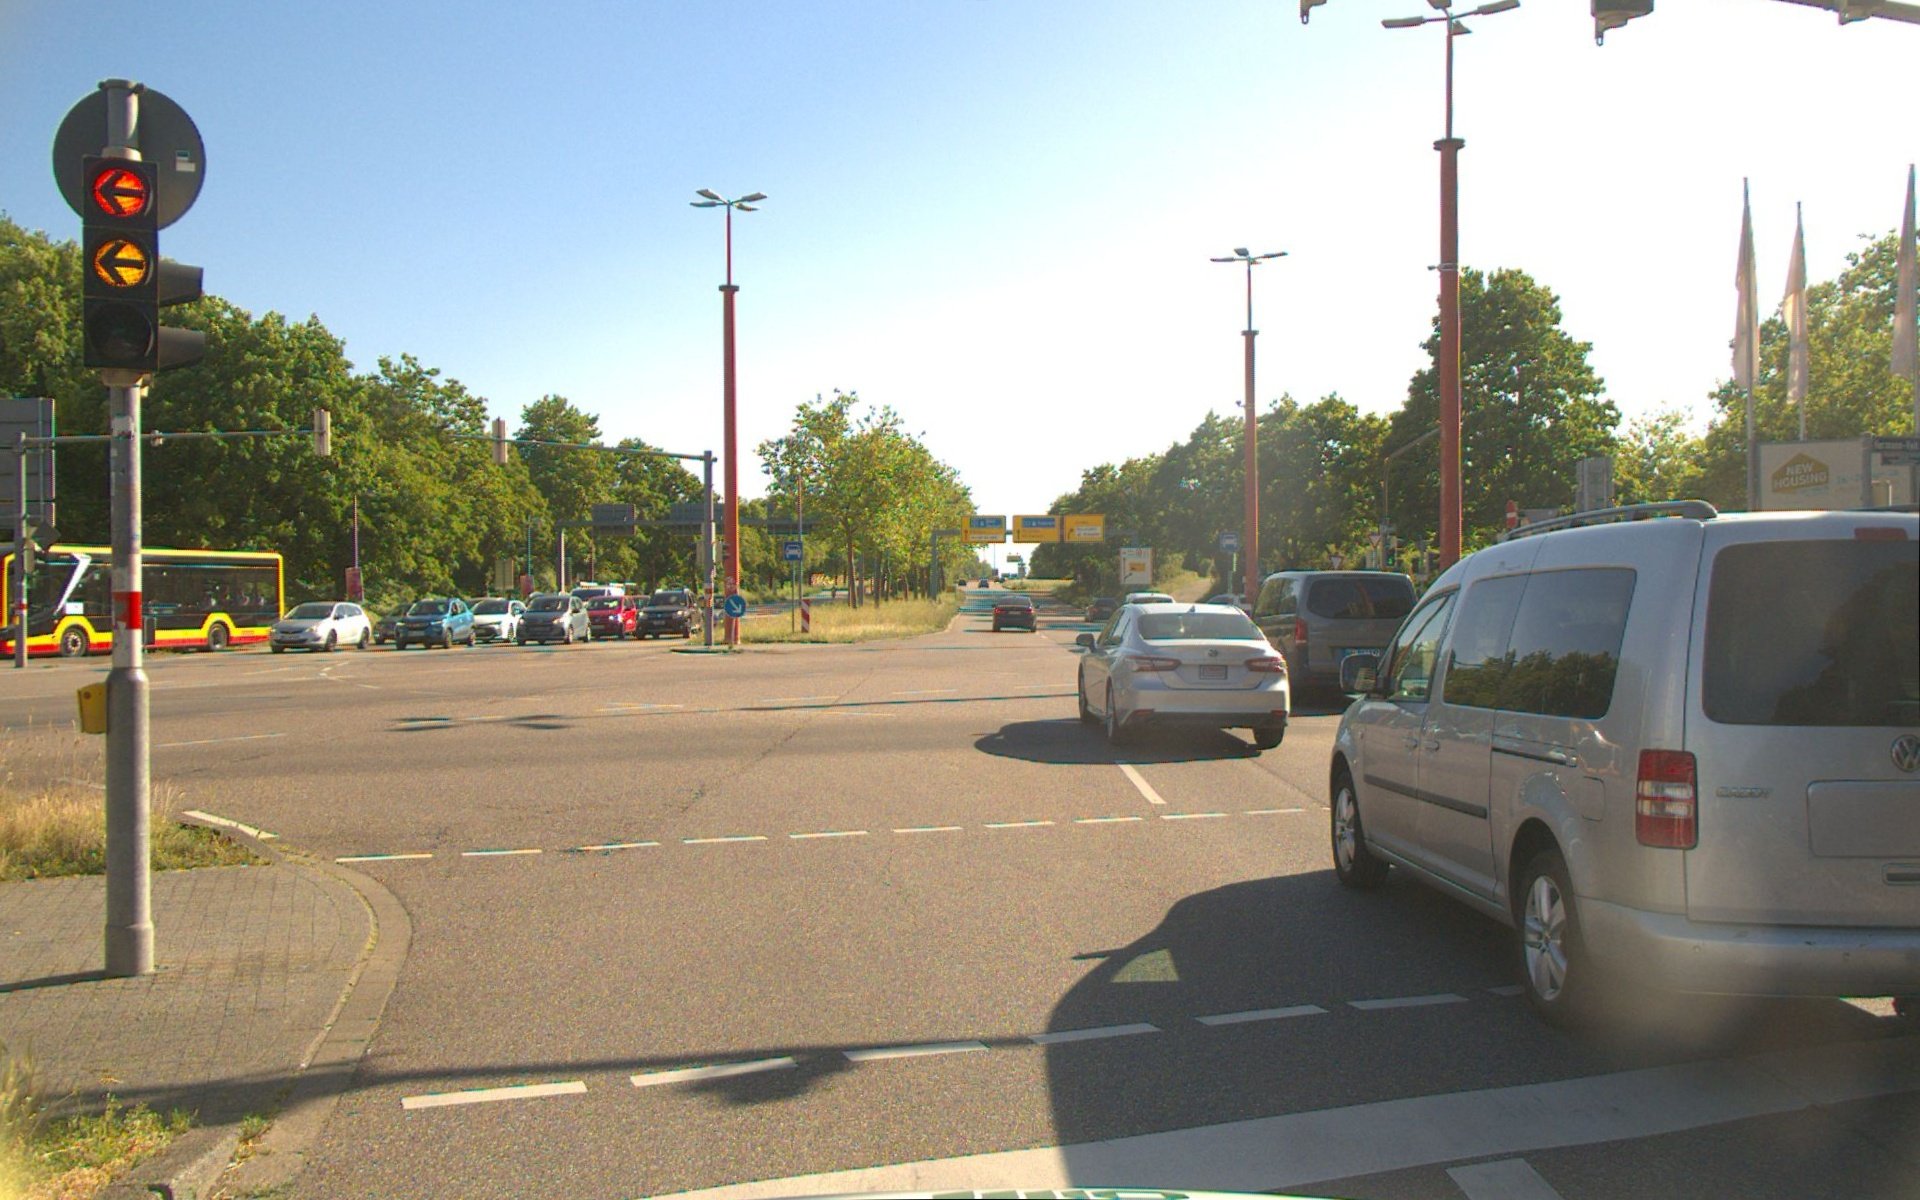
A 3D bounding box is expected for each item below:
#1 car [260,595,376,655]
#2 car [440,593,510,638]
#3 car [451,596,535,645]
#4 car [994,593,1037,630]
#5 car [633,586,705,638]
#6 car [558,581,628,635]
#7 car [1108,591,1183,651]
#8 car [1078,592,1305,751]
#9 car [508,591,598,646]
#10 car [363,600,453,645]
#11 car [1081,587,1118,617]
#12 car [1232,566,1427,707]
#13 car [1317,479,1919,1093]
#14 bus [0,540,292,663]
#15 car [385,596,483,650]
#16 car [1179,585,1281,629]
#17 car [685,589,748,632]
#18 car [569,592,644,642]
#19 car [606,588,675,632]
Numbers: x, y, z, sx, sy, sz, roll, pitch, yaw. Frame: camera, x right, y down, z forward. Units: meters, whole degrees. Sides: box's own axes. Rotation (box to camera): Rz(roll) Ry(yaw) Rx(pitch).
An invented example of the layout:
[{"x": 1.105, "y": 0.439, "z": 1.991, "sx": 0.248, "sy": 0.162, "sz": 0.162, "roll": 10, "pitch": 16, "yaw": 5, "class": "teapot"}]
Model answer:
[{"x": -19.545, "y": 0.742, "z": 50.529, "sx": 1.838, "sy": 1.681, "sz": 4.219, "roll": -1, "pitch": 0, "yaw": 0, "class": "car"}, {"x": -19.455, "y": 0.645, "z": 66.487, "sx": 1.742, "sy": 1.681, "sz": 3.972, "roll": -3, "pitch": -1, "yaw": -2, "class": "car"}, {"x": -16.035, "y": 0.668, "z": 57.015, "sx": 1.863, "sy": 1.582, "sz": 3.998, "roll": -1, "pitch": 0, "yaw": -2, "class": "car"}, {"x": 2.288, "y": 0.466, "z": 68.938, "sx": 1.727, "sy": 1.466, "sz": 4.295, "roll": 1, "pitch": 0, "yaw": 1, "class": "car"}, {"x": -9.842, "y": 0.389, "z": 56.199, "sx": 1.757, "sy": 1.654, "sz": 4.142, "roll": -2, "pitch": 0, "yaw": -2, "class": "car"}, {"x": -15.624, "y": 0.335, "z": 70.575, "sx": 1.922, "sy": 2.193, "sz": 5.080, "roll": -1, "pitch": 0, "yaw": -1, "class": "car"}, {"x": 5.310, "y": 0.583, "z": 47.796, "sx": 1.681, "sy": 1.636, "sz": 3.846, "roll": 1, "pitch": 0, "yaw": -1, "class": "car"}, {"x": 2.424, "y": 0.710, "z": 18.452, "sx": 1.768, "sy": 1.519, "sz": 4.681, "roll": 1, "pitch": 0, "yaw": -1, "class": "car"}, {"x": -12.772, "y": 0.556, "z": 52.076, "sx": 1.836, "sy": 1.577, "sz": 4.027, "roll": -2, "pitch": 1, "yaw": -1, "class": "car"}, {"x": -19.892, "y": 0.779, "z": 59.782, "sx": 1.846, "sy": 1.539, "sz": 4.000, "roll": -1, "pitch": 0, "yaw": 0, "class": "car"}, {"x": 8.227, "y": 0.120, "z": 97.672, "sx": 1.728, "sy": 1.664, "sz": 4.297, "roll": 1, "pitch": 0, "yaw": -1, "class": "car"}, {"x": 5.441, "y": 0.484, "z": 25.043, "sx": 1.767, "sy": 1.884, "sz": 5.102, "roll": -1, "pitch": 0, "yaw": 0, "class": "car"}, {"x": 3.006, "y": 0.576, "z": 7.316, "sx": 1.768, "sy": 1.853, "sz": 4.585, "roll": 0, "pitch": 0, "yaw": -1, "class": "car"}, {"x": -25.591, "y": 0.073, "z": 50.739, "sx": 2.589, "sy": 3.318, "sz": 12.545, "roll": 1, "pitch": 0, "yaw": 14, "class": "bus"}, {"x": -16.107, "y": 0.687, "z": 50.864, "sx": 1.764, "sy": 1.542, "sz": 3.858, "roll": -2, "pitch": 0, "yaw": 0, "class": "car"}, {"x": 10.673, "y": 0.263, "z": 65.661, "sx": 1.745, "sy": 1.664, "sz": 4.256, "roll": 0, "pitch": 0, "yaw": -29, "class": "car"}, {"x": -9.354, "y": 0.379, "z": 63.685, "sx": 1.847, "sy": 1.570, "sz": 3.999, "roll": -2, "pitch": 0, "yaw": -1, "class": "car"}, {"x": -12.449, "y": 0.587, "z": 58.418, "sx": 1.838, "sy": 1.579, "sz": 3.998, "roll": -3, "pitch": 0, "yaw": -2, "class": "car"}, {"x": -12.409, "y": 0.371, "z": 64.419, "sx": 1.862, "sy": 1.658, "sz": 4.000, "roll": 0, "pitch": 0, "yaw": 1, "class": "car"}]
